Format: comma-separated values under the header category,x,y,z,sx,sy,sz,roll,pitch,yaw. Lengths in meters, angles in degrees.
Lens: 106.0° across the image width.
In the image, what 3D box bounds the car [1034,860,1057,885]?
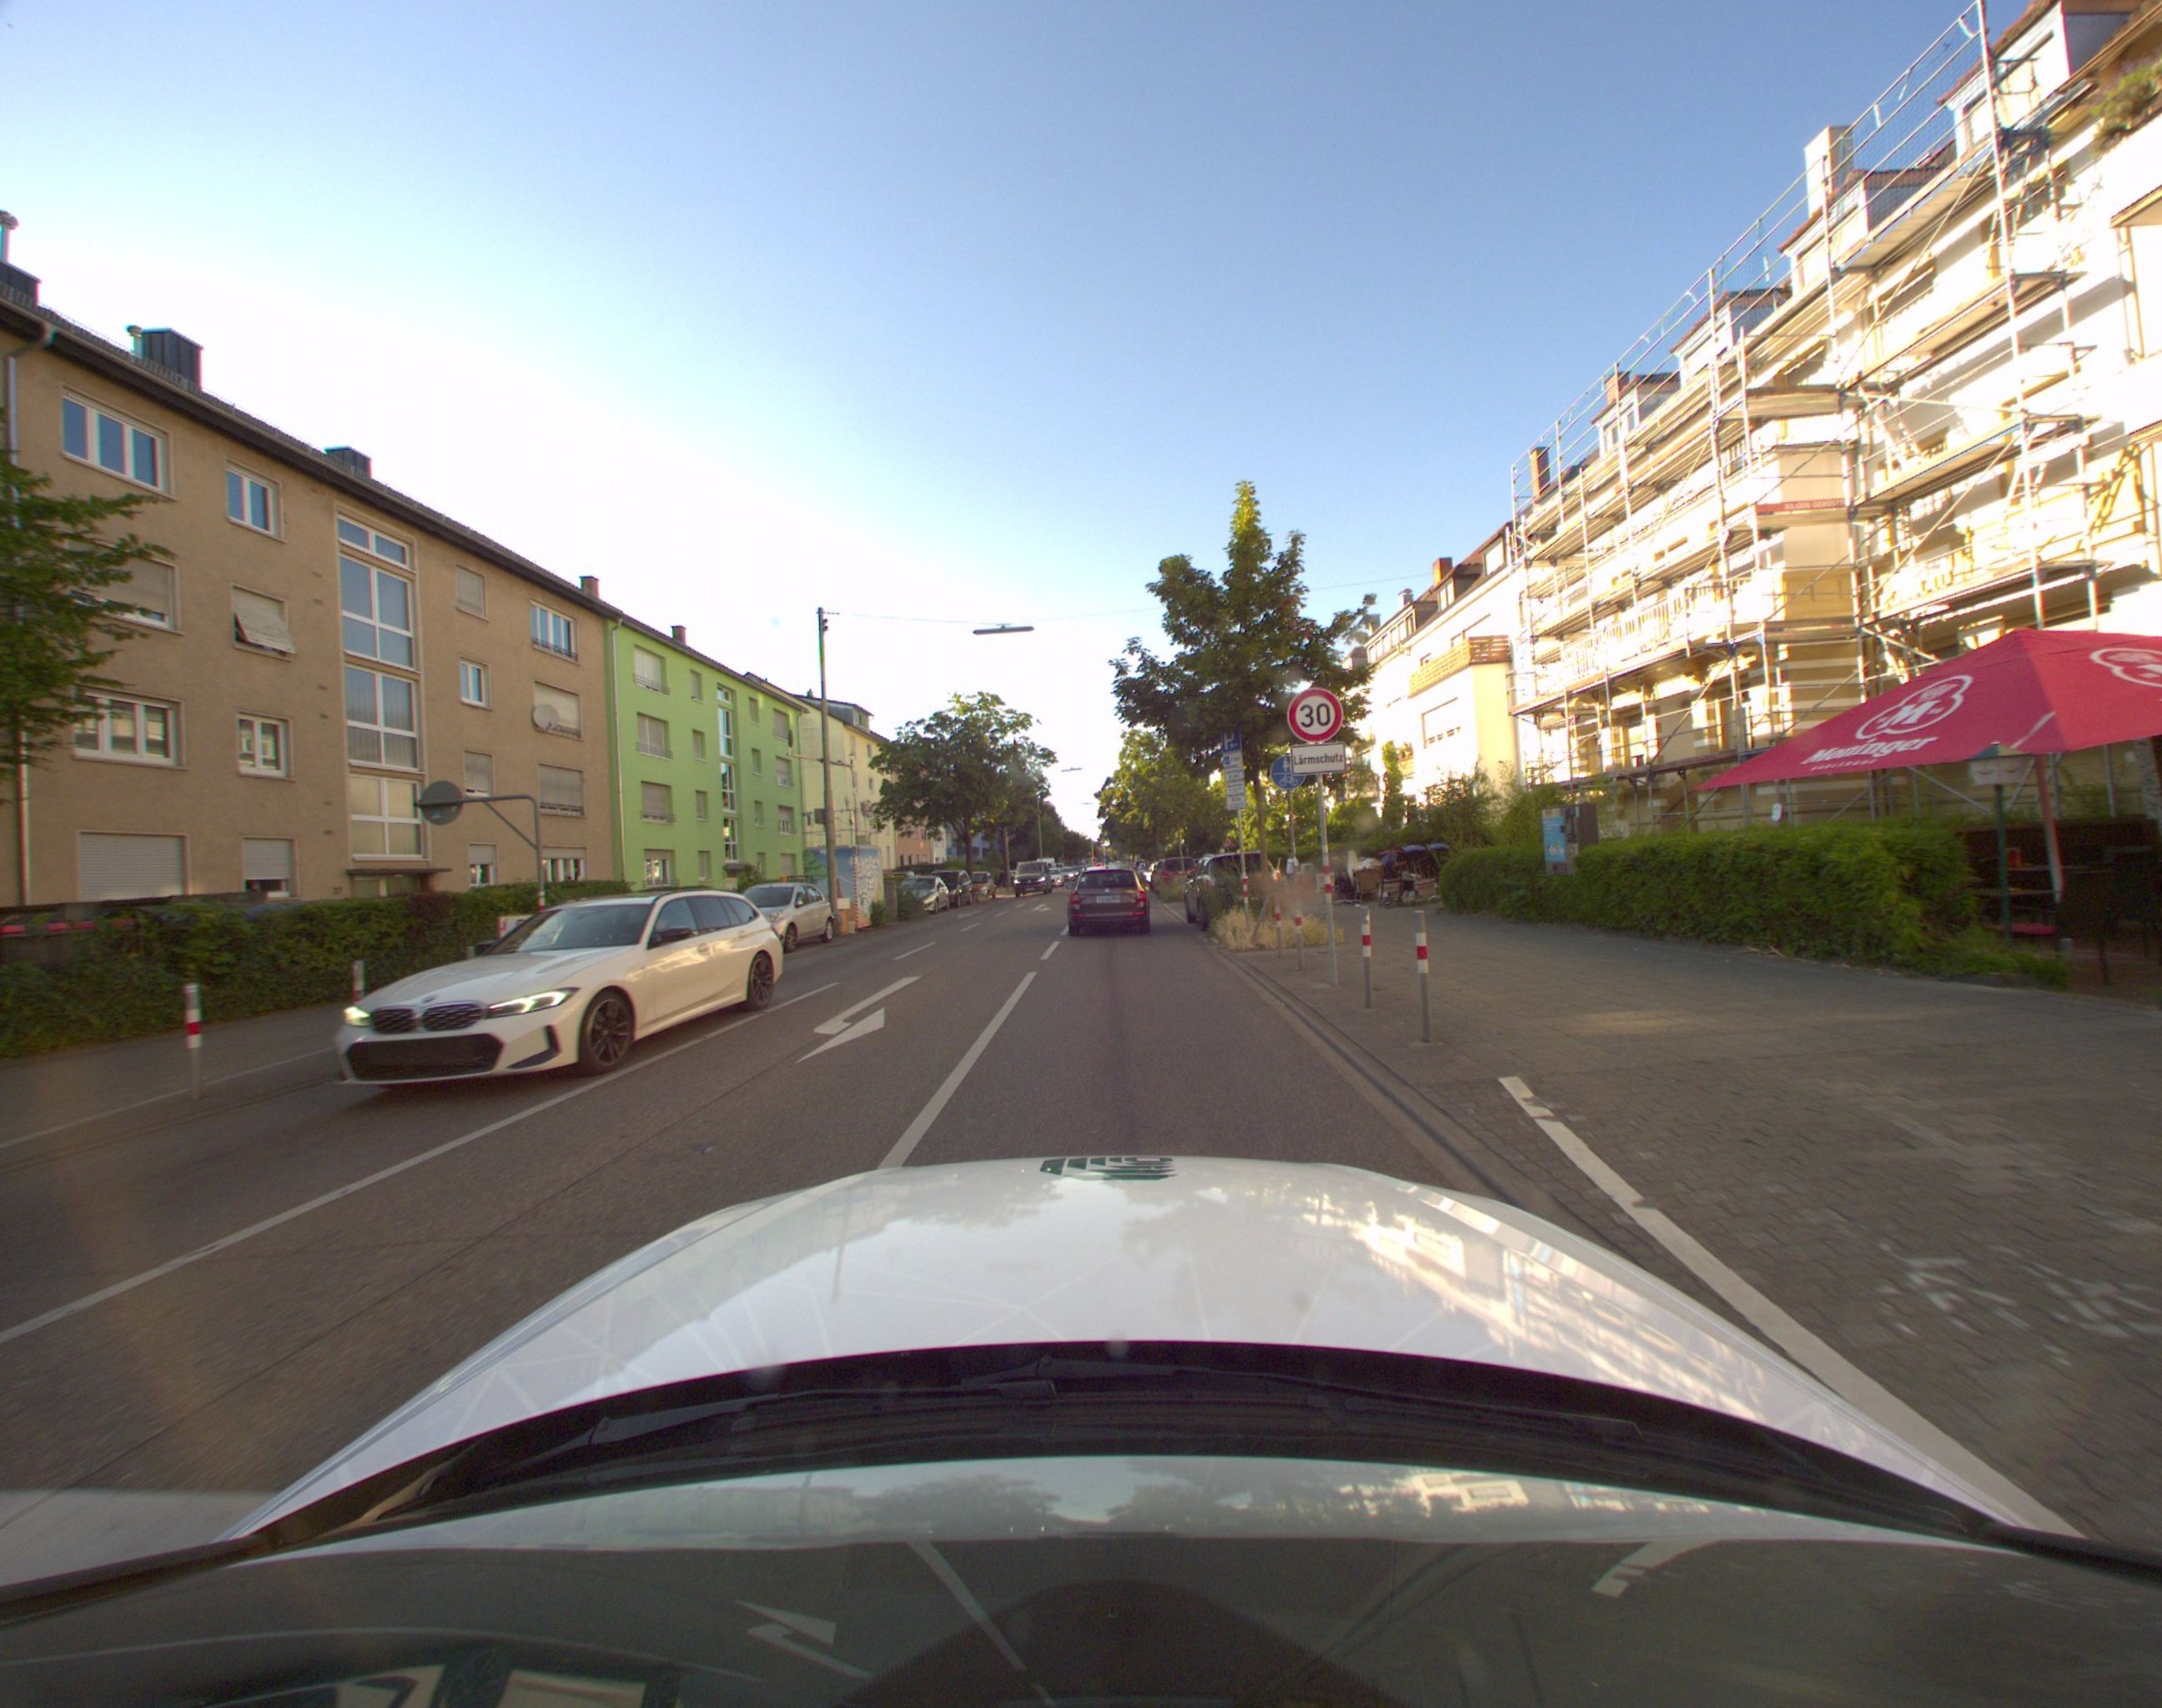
category,x,y,z,sx,sy,sz,roll,pitch,yaw
car,-3.872,2.017,90.175,1.986,2.616,7.107,-2,-1,2

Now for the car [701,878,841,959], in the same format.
category,x,y,z,sx,sy,sz,roll,pitch,yaw
car,-6.997,1.394,18.810,1.631,1.552,3.787,-3,-1,2

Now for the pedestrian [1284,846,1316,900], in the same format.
category,x,y,z,sx,sy,sz,roll,pitch,yaw
pedestrian,6.570,0.584,24.434,0.557,1.568,0.744,-3,-1,-16

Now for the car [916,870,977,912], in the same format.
category,x,y,z,sx,sy,sz,roll,pitch,yaw
car,-6.233,1.686,38.213,1.776,1.733,4.620,-3,-1,3

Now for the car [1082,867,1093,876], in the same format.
category,x,y,z,sx,sy,sz,roll,pitch,yaw
car,1.196,3.270,150.694,1.874,1.543,4.265,-3,-1,-1

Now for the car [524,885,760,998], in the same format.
category,x,y,z,sx,sy,sz,roll,pitch,yaw
car,-7.233,1.361,13.938,1.646,1.479,3.946,-3,-1,3

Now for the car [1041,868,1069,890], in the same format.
category,x,y,z,sx,sy,sz,roll,pitch,yaw
car,-1.987,1.920,63.340,1.810,1.446,4.110,-6,-1,1

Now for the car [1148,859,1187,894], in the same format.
category,x,y,z,sx,sy,sz,roll,pitch,yaw
car,4.375,1.130,41.529,1.630,1.568,4.002,-4,-1,2

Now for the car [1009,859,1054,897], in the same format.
category,x,y,z,sx,sy,sz,roll,pitch,yaw
car,-2.854,1.399,48.092,1.986,1.946,4.779,-5,-1,2

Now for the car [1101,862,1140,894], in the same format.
category,x,y,z,sx,sy,sz,roll,pitch,yaw
car,1.941,1.217,40.636,1.885,1.506,3.790,0,-2,2

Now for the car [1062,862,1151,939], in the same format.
category,x,y,z,sx,sy,sz,roll,pitch,yaw
car,0.645,0.957,18.266,1.746,1.492,4.004,-2,-1,4

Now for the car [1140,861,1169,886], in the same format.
category,x,y,z,sx,sy,sz,roll,pitch,yaw
car,5.287,1.383,59.131,1.866,1.581,4.825,-5,-1,4

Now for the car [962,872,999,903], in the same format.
category,x,y,z,sx,sy,sz,roll,pitch,yaw
car,-5.813,1.933,47.372,1.492,1.617,2.865,-3,-1,5

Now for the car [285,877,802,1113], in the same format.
category,x,y,z,sx,sy,sz,roll,pitch,yaw
car,-4.648,1.077,8.147,1.829,1.473,4.673,-5,-1,2

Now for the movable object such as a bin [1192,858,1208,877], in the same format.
category,x,y,z,sx,sy,sz,roll,pitch,yaw
movable object such as a bin,10.635,1.199,72.710,1.259,1.492,1.143,-6,-1,12

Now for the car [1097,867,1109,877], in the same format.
category,x,y,z,sx,sy,sz,roll,pitch,yaw
car,3.432,2.876,127.932,1.776,1.480,3.969,-2,-1,-1

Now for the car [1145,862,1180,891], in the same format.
category,x,y,z,sx,sy,sz,roll,pitch,yaw
car,4.630,1.278,46.923,1.630,1.490,4.417,-4,-1,2

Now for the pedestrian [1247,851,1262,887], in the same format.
category,x,y,z,sx,sy,sz,roll,pitch,yaw
pedestrian,8.175,0.702,38.444,0.509,1.697,0.526,-3,-1,-3

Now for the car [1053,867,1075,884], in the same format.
category,x,y,z,sx,sy,sz,roll,pitch,yaw
car,-1.684,2.103,80.886,1.825,1.470,4.453,-6,-1,2

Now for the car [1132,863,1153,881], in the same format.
category,x,y,z,sx,sy,sz,roll,pitch,yaw
car,5.766,1.707,77.050,1.712,1.601,4.097,-3,-1,2

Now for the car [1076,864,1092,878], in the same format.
category,x,y,z,sx,sy,sz,roll,pitch,yaw
car,0.357,1.952,93.203,1.694,1.403,4.029,-5,-1,2

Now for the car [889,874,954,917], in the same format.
category,x,y,z,sx,sy,sz,roll,pitch,yaw
car,-6.443,1.637,33.291,1.677,1.521,4.191,-3,-1,1

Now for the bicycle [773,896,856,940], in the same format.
category,x,y,z,sx,sy,sz,roll,pitch,yaw
bicycle,-7.082,1.695,21.693,1.997,1.089,0.584,-1,-1,3

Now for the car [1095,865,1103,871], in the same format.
category,x,y,z,sx,sy,sz,roll,pitch,yaw
car,4.957,3.947,227.423,1.989,1.750,3.995,-3,-1,-3

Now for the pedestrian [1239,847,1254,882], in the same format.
category,x,y,z,sx,sy,sz,roll,pitch,yaw
pedestrian,7.994,0.508,39.363,0.509,1.697,0.526,-3,-1,-3

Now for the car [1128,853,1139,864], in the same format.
category,x,y,z,sx,sy,sz,roll,pitch,yaw
car,8.142,0.755,126.292,1.746,1.686,4.256,-2,-1,4

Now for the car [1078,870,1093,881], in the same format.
category,x,y,z,sx,sy,sz,roll,pitch,yaw
car,0.630,3.097,117.502,1.692,1.470,4.299,-4,-1,5

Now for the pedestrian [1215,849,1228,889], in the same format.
category,x,y,z,sx,sy,sz,roll,pitch,yaw
pedestrian,6.777,0.719,39.289,0.545,1.849,0.766,-3,-1,9

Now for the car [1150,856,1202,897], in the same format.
category,x,y,z,sx,sy,sz,roll,pitch,yaw
car,4.217,0.978,36.721,1.716,1.656,4.596,-3,-1,-1

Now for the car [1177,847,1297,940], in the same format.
category,x,y,z,sx,sy,sz,roll,pitch,yaw
car,3.183,0.773,17.408,1.786,1.632,4.030,-4,-1,1
